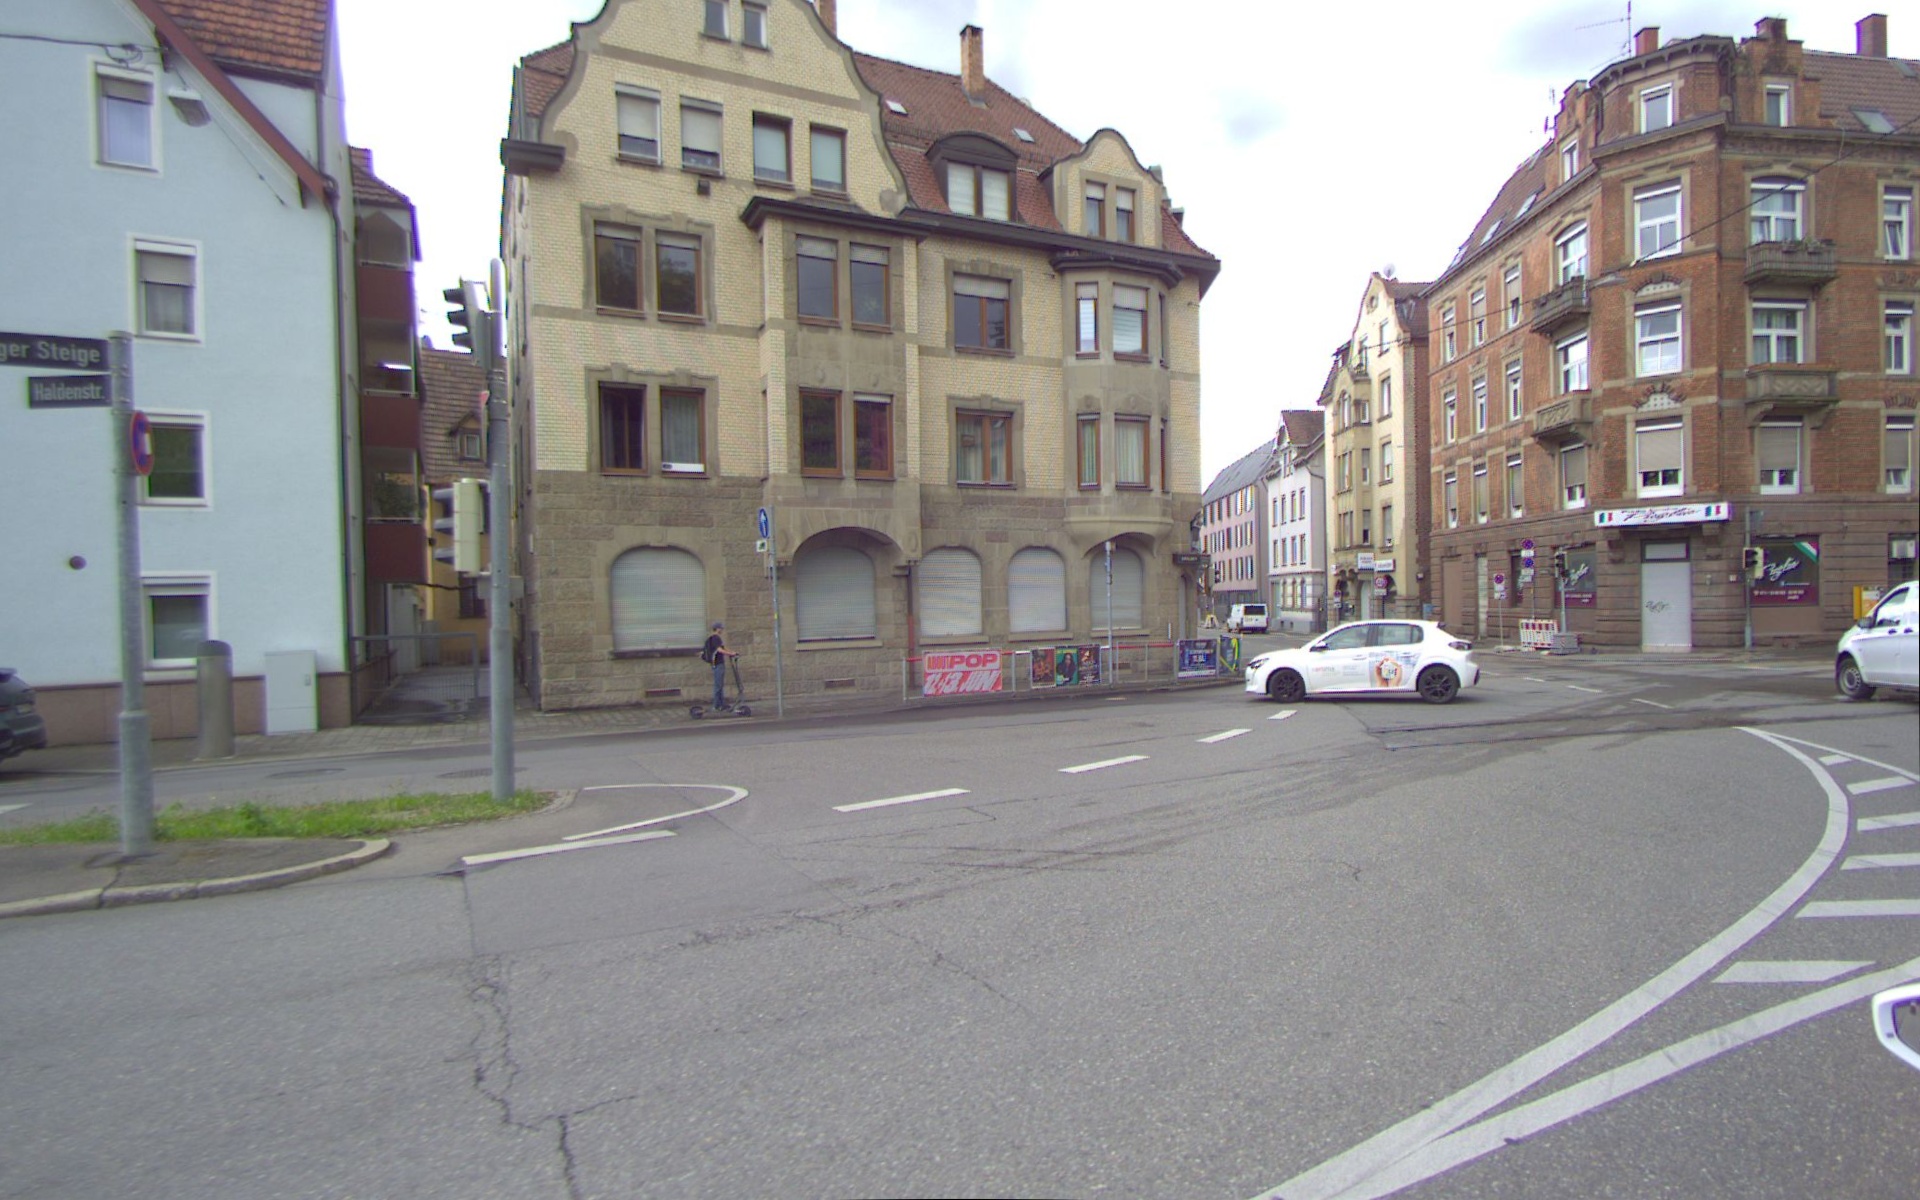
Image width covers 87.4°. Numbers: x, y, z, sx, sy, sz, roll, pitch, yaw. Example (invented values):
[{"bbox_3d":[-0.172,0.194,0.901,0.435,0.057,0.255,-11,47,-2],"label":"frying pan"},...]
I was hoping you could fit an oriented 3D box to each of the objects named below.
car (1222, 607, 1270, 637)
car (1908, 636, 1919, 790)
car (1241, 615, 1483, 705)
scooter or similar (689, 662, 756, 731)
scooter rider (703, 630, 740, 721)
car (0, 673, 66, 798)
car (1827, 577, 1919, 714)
[{"bbox_3d":[20.196,1.566,71.089,2.093,2.031,4.927,0,-1,2],"label":"car"},{"bbox_3d":[8.531,0.947,7.083,1.737,1.427,4.389,-3,-3,31],"label":"car"},{"bbox_3d":[7.293,1.123,18.321,3.850,1.485,1.683,-4,-4,30],"label":"car"},{"bbox_3d":[-4.625,1.863,19.593,1.211,1.258,0.377,-1,-1,-28],"label":"scooter or similar"},{"bbox_3d":[-4.650,1.458,19.593,0.570,1.728,0.486,-1,-1,-27],"label":"scooter rider"},{"bbox_3d":[-14.876,1.824,13.314,4.180,1.576,1.675,1,-1,-28],"label":"car"},{"bbox_3d":[14.655,0.623,14.283,1.861,1.954,4.646,-3,-3,19],"label":"car"}]
